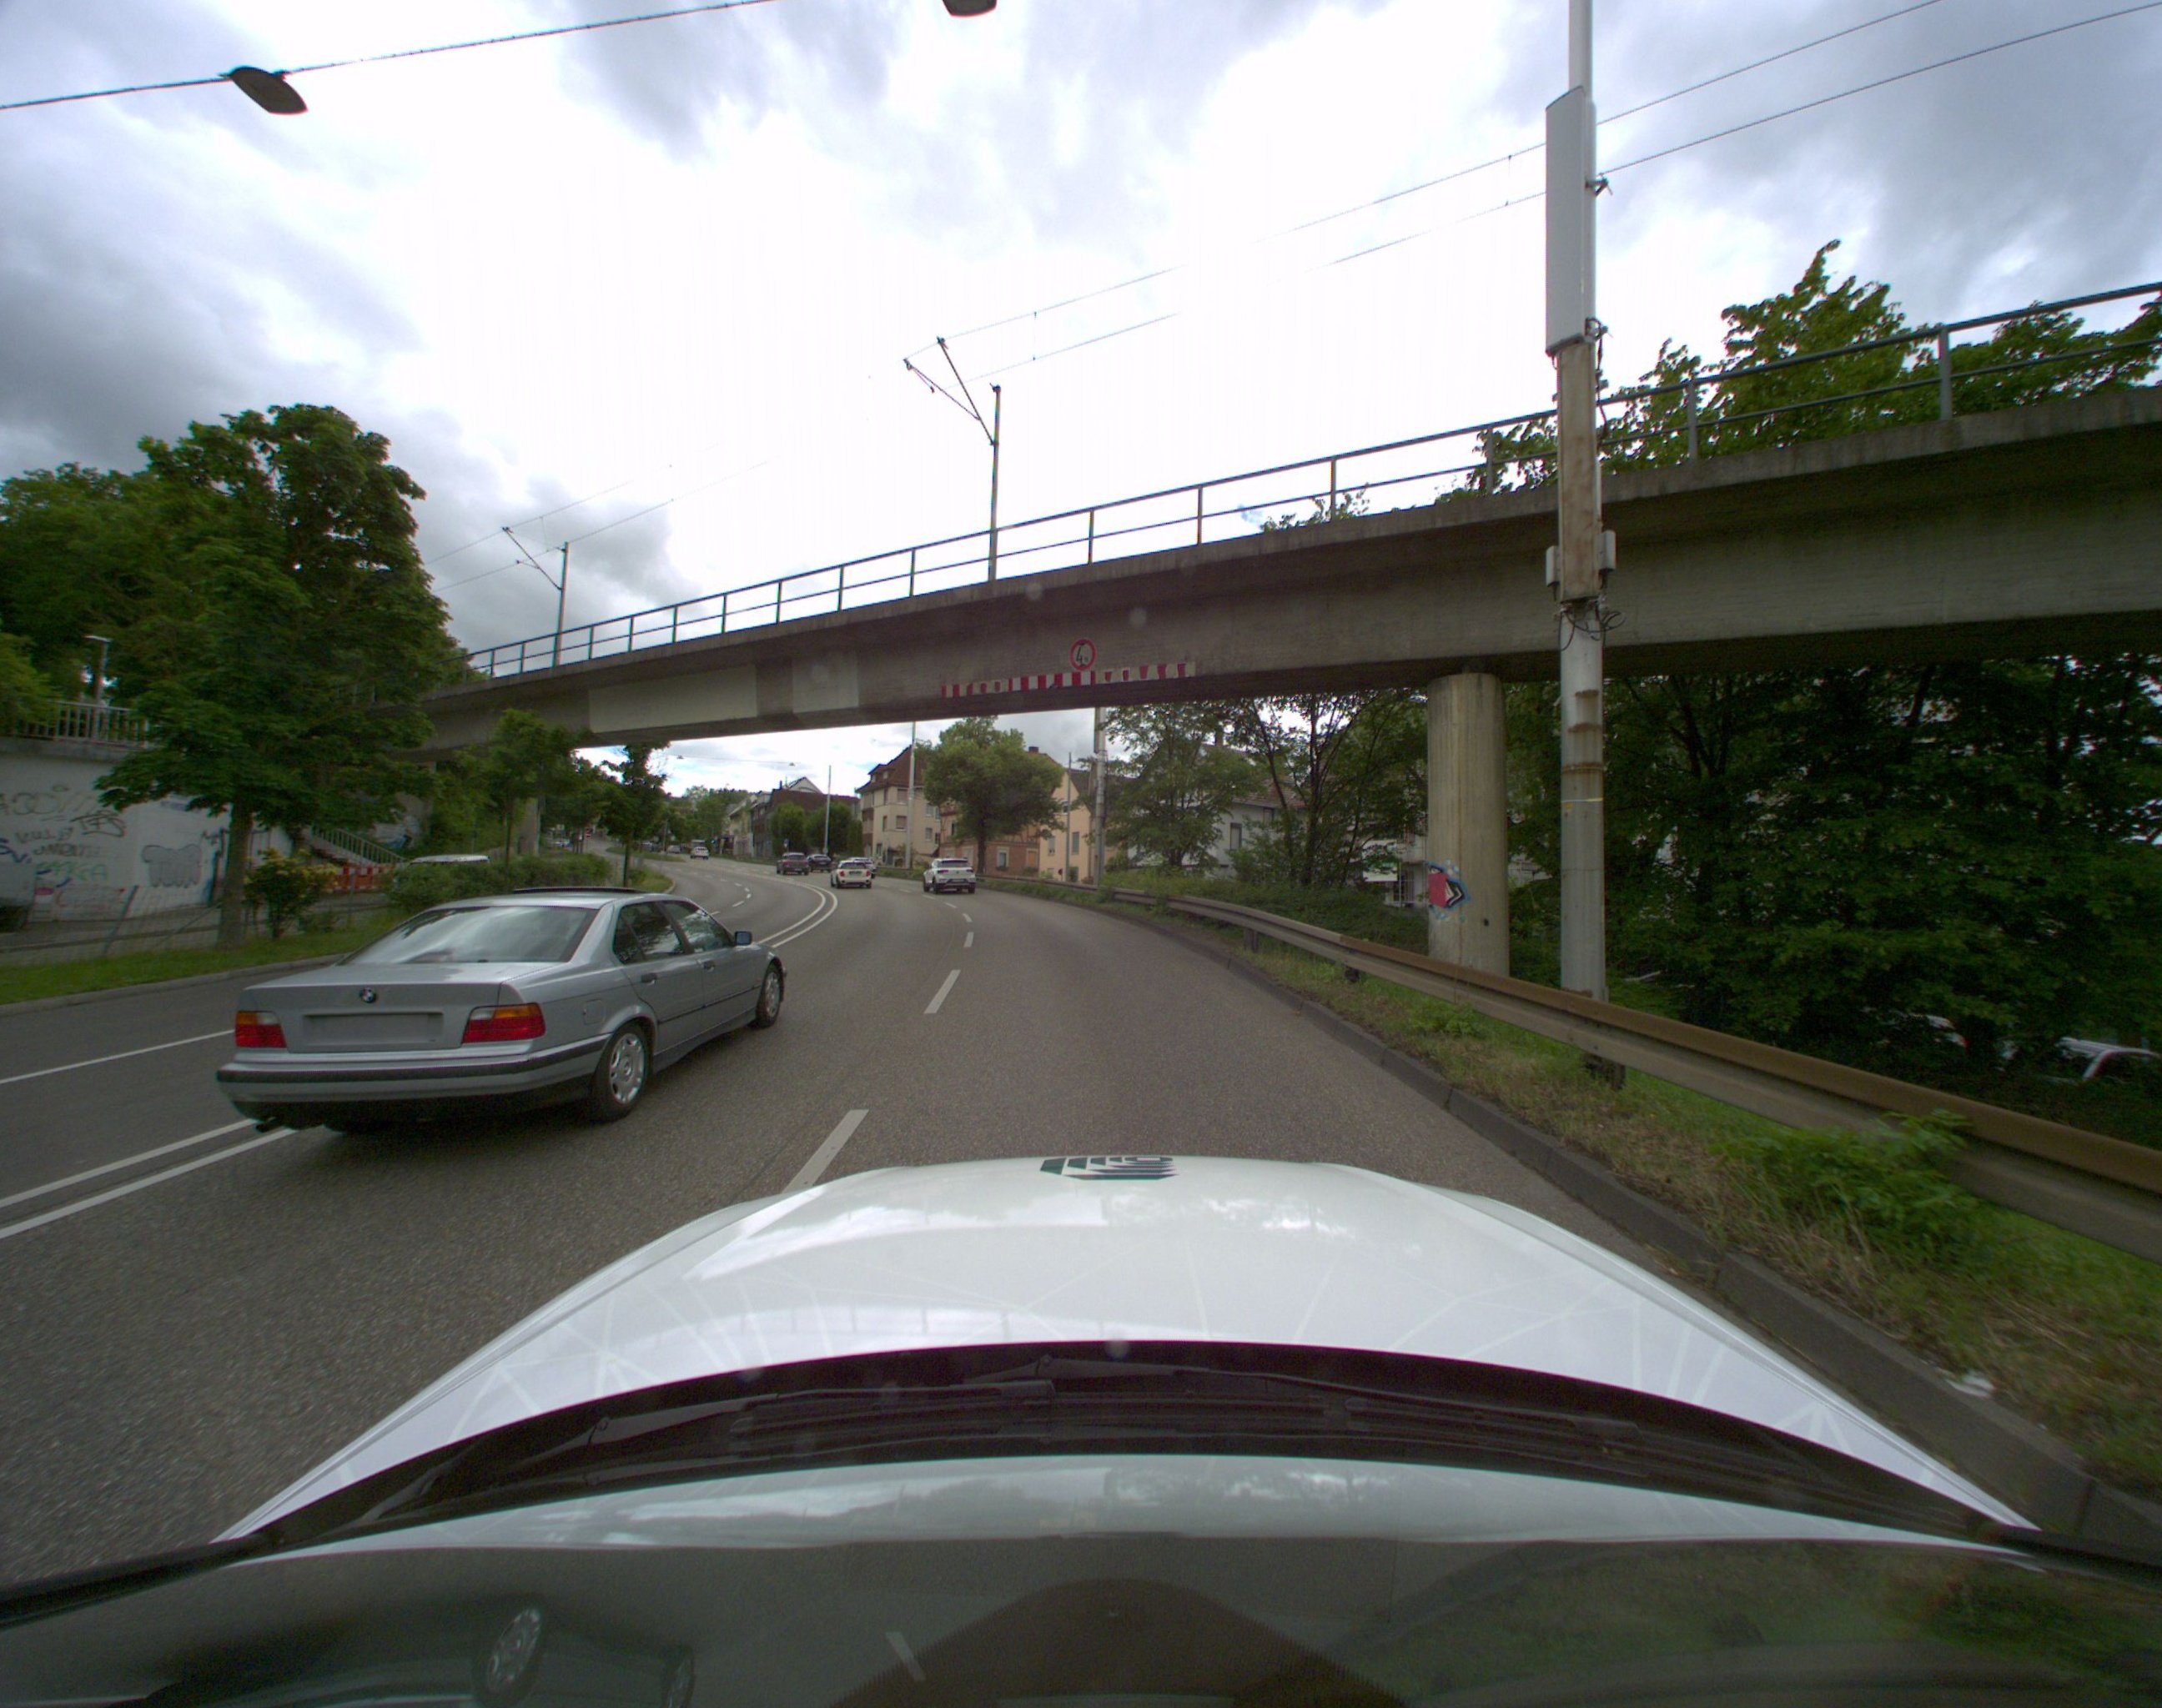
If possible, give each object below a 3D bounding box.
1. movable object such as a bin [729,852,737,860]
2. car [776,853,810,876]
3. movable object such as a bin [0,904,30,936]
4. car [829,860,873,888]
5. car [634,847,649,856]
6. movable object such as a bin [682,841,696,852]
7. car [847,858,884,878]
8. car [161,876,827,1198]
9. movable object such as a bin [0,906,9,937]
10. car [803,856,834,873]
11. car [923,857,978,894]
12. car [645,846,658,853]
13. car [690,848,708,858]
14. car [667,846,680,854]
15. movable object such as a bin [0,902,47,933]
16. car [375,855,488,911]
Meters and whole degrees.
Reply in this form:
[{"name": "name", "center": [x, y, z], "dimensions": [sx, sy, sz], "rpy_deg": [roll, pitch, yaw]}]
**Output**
[{"name": "movable object such as a bin", "center": [-66.249, 0.310, 155.099], "dimensions": [1.204, 1.408, 0.703], "rpy_deg": [5, -2, -34]}, {"name": "car", "center": [-21.633, 0.770, 61.128], "dimensions": [1.734, 1.640, 3.422], "rpy_deg": [0, 0, -31]}, {"name": "movable object such as a bin", "center": [-23.516, 1.430, 17.724], "dimensions": [0.561, 0.640, 0.576], "rpy_deg": [5, -1, -29]}, {"name": "car", "center": [-11.995, 1.003, 42.371], "dimensions": [1.731, 1.376, 3.428], "rpy_deg": [0, 0, -25]}, {"name": "car", "center": [-74.541, -0.413, 138.037], "dimensions": [1.736, 1.583, 3.419], "rpy_deg": [0, 0, -36]}, {"name": "movable object such as a bin", "center": [-73.927, -1.395, 153.448], "dimensions": [1.907, 1.870, 1.510], "rpy_deg": [6, -2, -42]}, {"name": "car", "center": [-15.056, 0.947, 56.827], "dimensions": [1.732, 1.376, 3.425], "rpy_deg": [0, 0, -28]}, {"name": "car", "center": [-3.481, 0.919, 6.137], "dimensions": [1.629, 1.383, 4.619], "rpy_deg": [-1, 0, 0]}, {"name": "movable object such as a bin", "center": [-23.131, 1.421, 17.074], "dimensions": [0.561, 0.640, 0.576], "rpy_deg": [5, -1, -29]}, {"name": "car", "center": [-22.126, 0.860, 68.657], "dimensions": [1.734, 1.376, 3.422], "rpy_deg": [0, 0, -32]}, {"name": "car", "center": [-5.854, 0.918, 36.303], "dimensions": [1.803, 1.519, 3.433], "rpy_deg": [0, 0, -20]}, {"name": "car", "center": [-79.100, -0.789, 150.000], "dimensions": [1.735, 1.376, 3.420], "rpy_deg": [0, 0, -34]}, {"name": "car", "center": [-52.163, -0.178, 111.144], "dimensions": [1.735, 1.376, 3.420], "rpy_deg": [0, 0, -34]}, {"name": "car", "center": [-75.472, -0.774, 150.633], "dimensions": [1.735, 1.376, 3.420], "rpy_deg": [0, 0, -34]}, {"name": "movable object such as a bin", "center": [-23.836, 1.423, 18.283], "dimensions": [0.561, 0.640, 0.576], "rpy_deg": [5, -1, -29]}, {"name": "car", "center": [-23.361, 0.971, 29.498], "dimensions": [1.772, 1.785, 4.436], "rpy_deg": [-2, 0, -19]}]
